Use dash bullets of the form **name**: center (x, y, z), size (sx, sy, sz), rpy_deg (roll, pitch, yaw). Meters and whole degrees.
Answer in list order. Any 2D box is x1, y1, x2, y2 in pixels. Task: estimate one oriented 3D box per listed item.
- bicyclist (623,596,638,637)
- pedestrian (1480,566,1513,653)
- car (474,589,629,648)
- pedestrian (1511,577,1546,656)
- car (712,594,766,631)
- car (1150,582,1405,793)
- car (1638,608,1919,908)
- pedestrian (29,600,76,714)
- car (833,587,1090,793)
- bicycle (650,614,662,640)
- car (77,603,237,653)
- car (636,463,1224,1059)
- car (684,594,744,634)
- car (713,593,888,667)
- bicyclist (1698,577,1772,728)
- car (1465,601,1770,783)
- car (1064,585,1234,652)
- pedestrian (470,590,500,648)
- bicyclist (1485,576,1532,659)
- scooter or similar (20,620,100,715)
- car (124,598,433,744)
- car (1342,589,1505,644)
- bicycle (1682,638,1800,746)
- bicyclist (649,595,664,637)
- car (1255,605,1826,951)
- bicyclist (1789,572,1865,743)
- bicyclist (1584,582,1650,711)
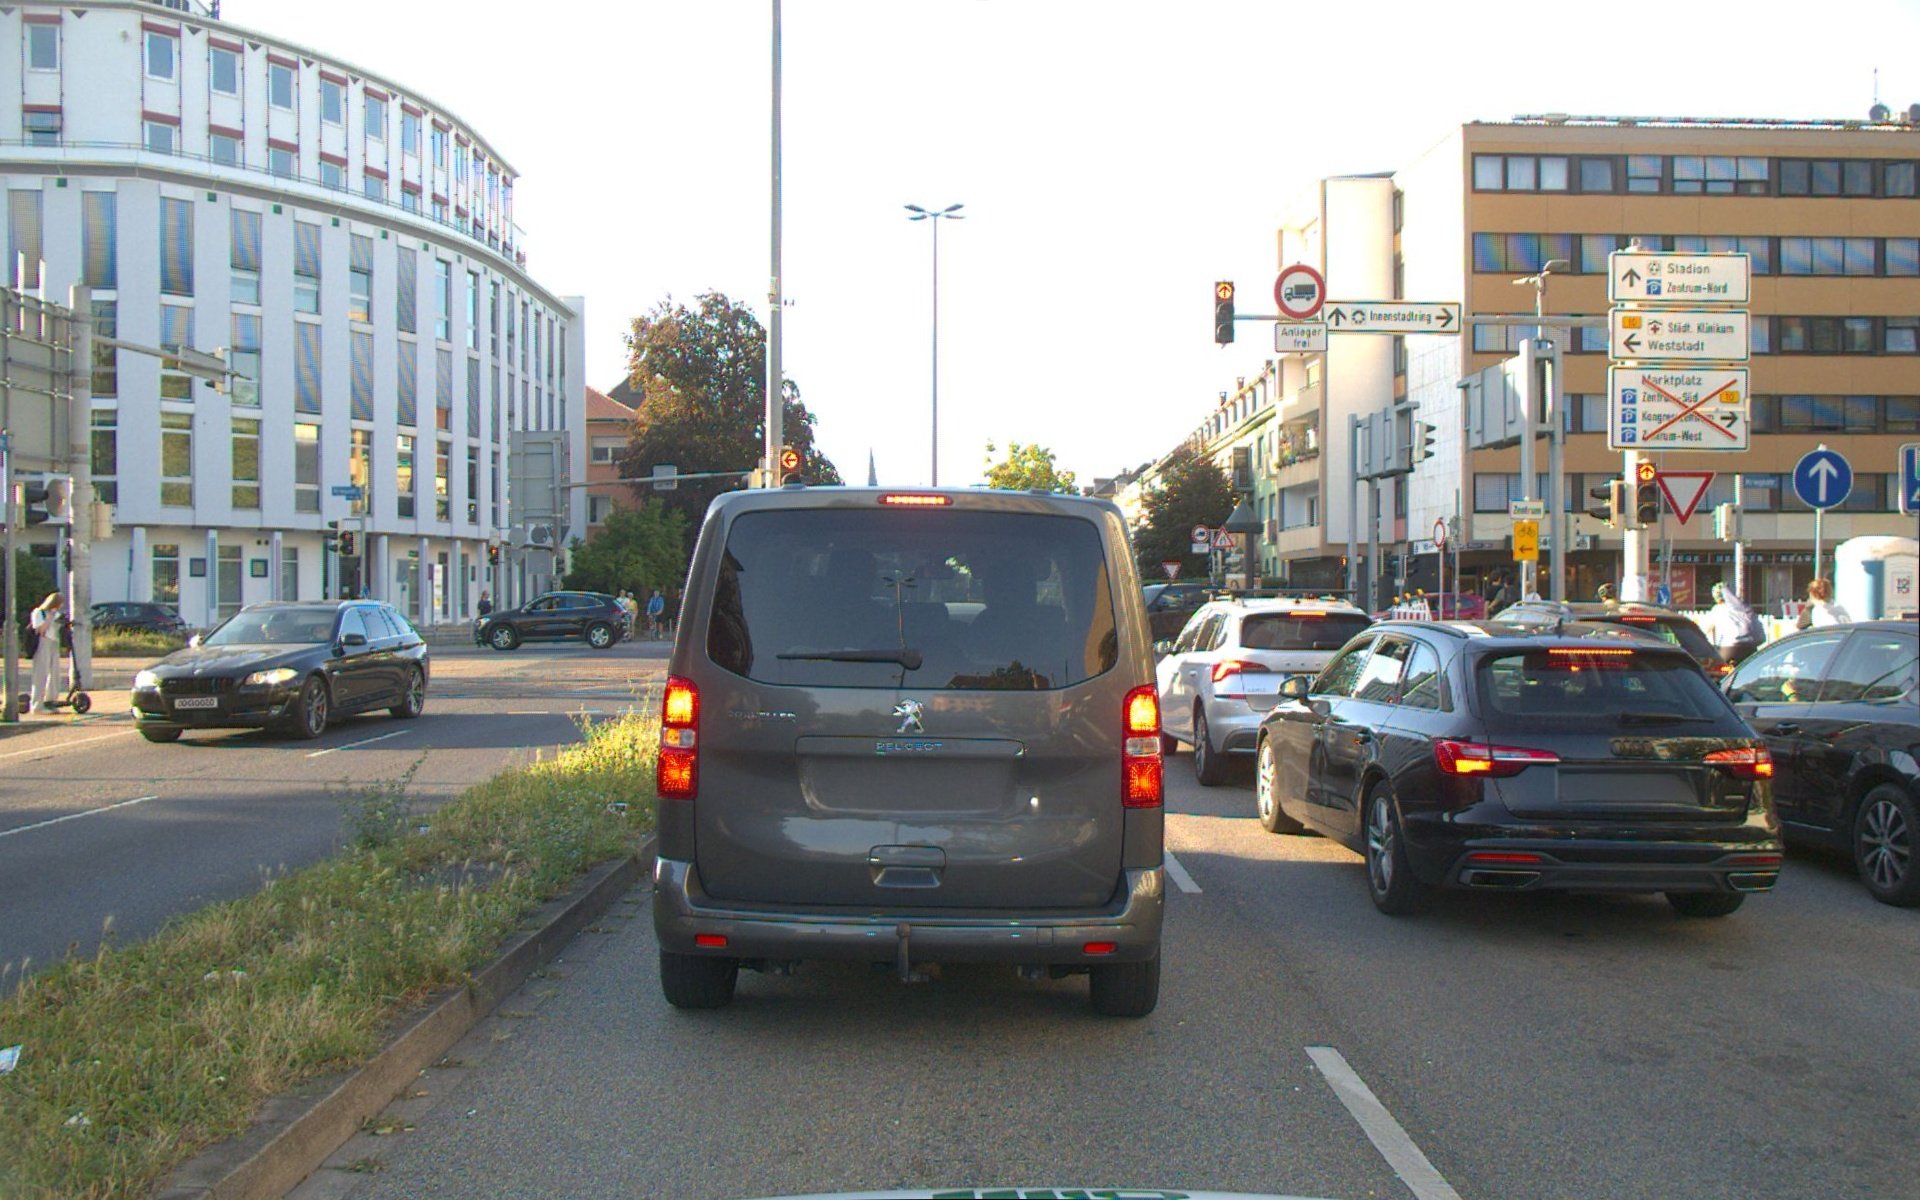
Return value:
- **bicyclist**: center (-12.515, 0.608, 62.808), size (0.453, 1.548, 0.469), rpy_deg (0, 0, -1)
- **pedestrian**: center (11.571, 0.201, 35.696), size (0.558, 1.866, 0.487), rpy_deg (0, 0, 1)
- **car**: center (-11.600, 0.529, 47.176), size (4.039, 1.622, 1.793), rpy_deg (0, -1, -6)
- **pedestrian**: center (12.313, 0.350, 35.823), size (0.589, 1.700, 0.454), rpy_deg (0, 0, 1)
- **car**: center (-9.035, 0.481, 67.966), size (1.819, 1.445, 3.998), rpy_deg (0, 0, -2)
- **car**: center (2.721, 0.685, 14.925), size (1.498, 1.641, 3.744), rpy_deg (1, 0, -1)
- **car**: center (5.590, 0.815, 9.735), size (1.600, 1.474, 3.744), rpy_deg (1, 0, -1)
- **pedestrian**: center (-12.272, 0.764, 22.371), size (0.466, 1.532, 0.334), rpy_deg (0, 0, -13)
- **car**: center (-0.014, 0.677, 14.612), size (1.953, 1.557, 3.999), rpy_deg (0, 0, -1)
- **bicycle**: center (-11.543, 1.038, 62.795), size (0.270, 0.965, 1.072), rpy_deg (0, 0, -1)
- **car**: center (-21.987, 0.759, 45.404), size (3.539, 1.319, 1.832), rpy_deg (0, 0, -9)
- **car**: center (-0.127, 0.519, 7.625), size (1.868, 1.896, 4.525), rpy_deg (1, 0, -1)
- **car**: center (-9.232, 0.500, 62.274), size (1.819, 1.445, 3.998), rpy_deg (0, 0, -2)
- **car**: center (-3.228, 0.579, 34.242), size (1.644, 1.443, 3.993), rpy_deg (0, 0, 29)
- **bicyclist**: center (8.138, 0.541, 17.385), size (0.432, 1.552, 0.725), rpy_deg (0, 0, -1)
- **car**: center (5.989, 0.769, 15.451), size (1.474, 1.474, 3.304), rpy_deg (1, 0, -1)
- **car**: center (4.621, 0.423, 40.284), size (3.947, 1.543, 1.664), rpy_deg (0, 0, -31)
- **pedestrian**: center (-14.646, 0.584, 50.958), size (0.658, 1.752, 0.625), rpy_deg (0, 0, 37)
- **bicyclist**: center (10.887, 0.334, 32.858), size (0.605, 1.616, 0.814), rpy_deg (1, 1, -4)
- **scooter or similar**: center (-12.171, 0.905, 22.379), size (0.877, 1.255, 0.370), rpy_deg (0, 0, -12)
- **car**: center (-7.686, 0.733, 19.128), size (1.662, 1.467, 4.243), rpy_deg (-1, 0, 2)
- **car**: center (12.444, 0.425, 44.464), size (3.920, 1.443, 1.675), rpy_deg (0, 0, -14)
- **bicycle**: center (8.134, 0.933, 17.302), size (0.329, 1.025, 1.855), rpy_deg (0, 0, -1)
- **bicyclist**: center (-11.528, 0.604, 62.786), size (0.467, 1.582, 0.509), rpy_deg (0, 0, -1)
- **car**: center (2.890, 0.778, 9.262), size (1.647, 1.446, 4.213), rpy_deg (1, 0, -1)
- **bicyclist**: center (7.975, 0.520, 15.225), size (0.432, 1.552, 0.482), rpy_deg (0, 0, -1)
- **bicyclist**: center (8.066, 0.563, 20.320), size (0.503, 1.552, 0.725), rpy_deg (0, 0, -1)
